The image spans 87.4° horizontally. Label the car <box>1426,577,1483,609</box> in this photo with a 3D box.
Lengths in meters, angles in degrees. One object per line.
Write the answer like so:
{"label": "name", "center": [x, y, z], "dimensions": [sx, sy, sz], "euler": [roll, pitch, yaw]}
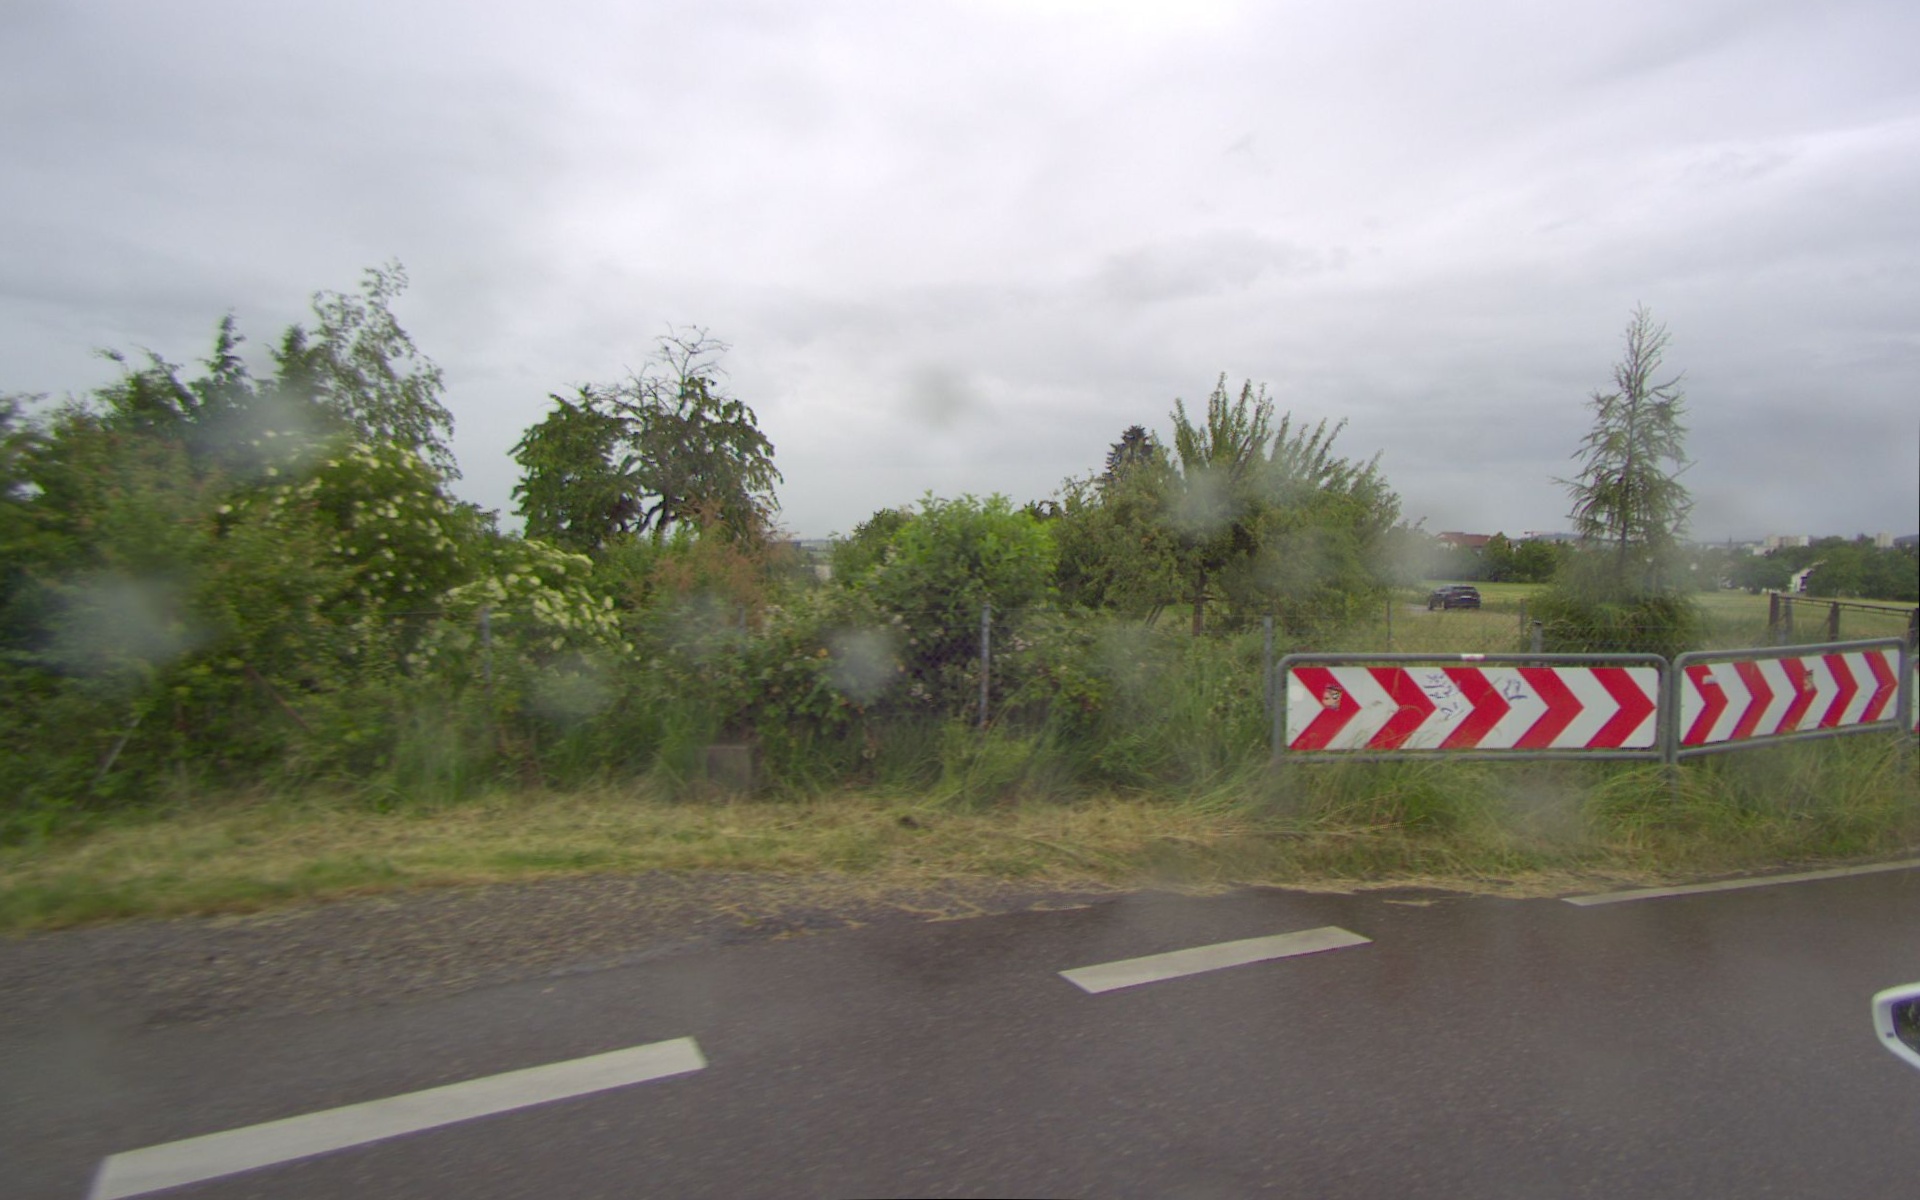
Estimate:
{"label": "car", "center": [26.472, -0.379, 53.914], "dimensions": [1.784, 1.615, 4.002], "euler": [1, 1, 12]}
